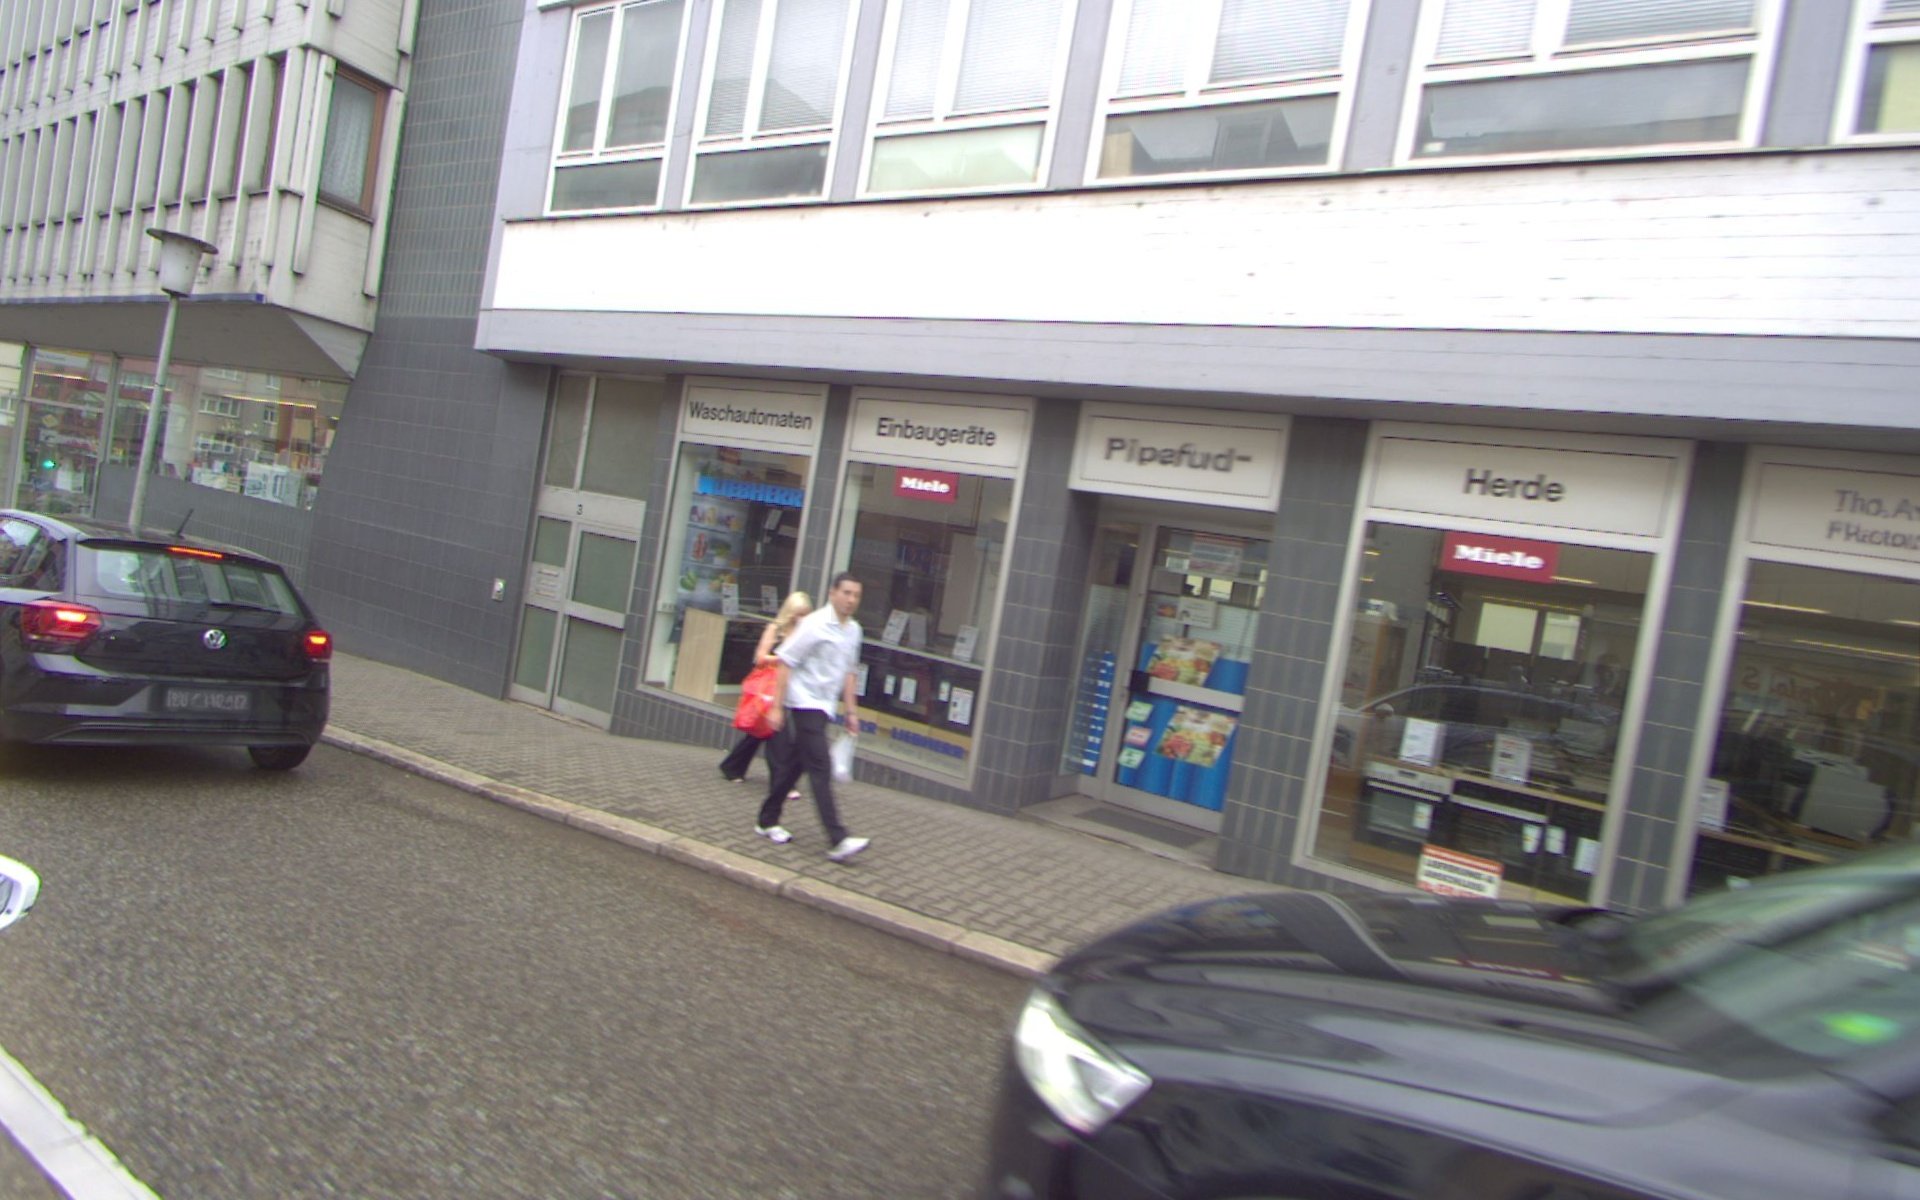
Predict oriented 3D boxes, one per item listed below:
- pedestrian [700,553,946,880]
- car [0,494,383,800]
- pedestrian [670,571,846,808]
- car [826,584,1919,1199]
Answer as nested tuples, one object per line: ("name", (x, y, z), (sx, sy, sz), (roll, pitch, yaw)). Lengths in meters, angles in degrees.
("pedestrian", (-0.831, 0.645, 6.136), (1.101, 1.728, 0.784), (7, 3, 28))
("car", (-5.906, 0.145, 6.684), (3.932, 1.493, 1.694), (7, -3, 30))
("pedestrian", (-1.498, 0.627, 7.496), (0.875, 1.572, 0.766), (7, 3, 28))
("car", (2.020, 1.070, 1.477), (4.130, 1.577, 1.828), (7, -3, 30))
